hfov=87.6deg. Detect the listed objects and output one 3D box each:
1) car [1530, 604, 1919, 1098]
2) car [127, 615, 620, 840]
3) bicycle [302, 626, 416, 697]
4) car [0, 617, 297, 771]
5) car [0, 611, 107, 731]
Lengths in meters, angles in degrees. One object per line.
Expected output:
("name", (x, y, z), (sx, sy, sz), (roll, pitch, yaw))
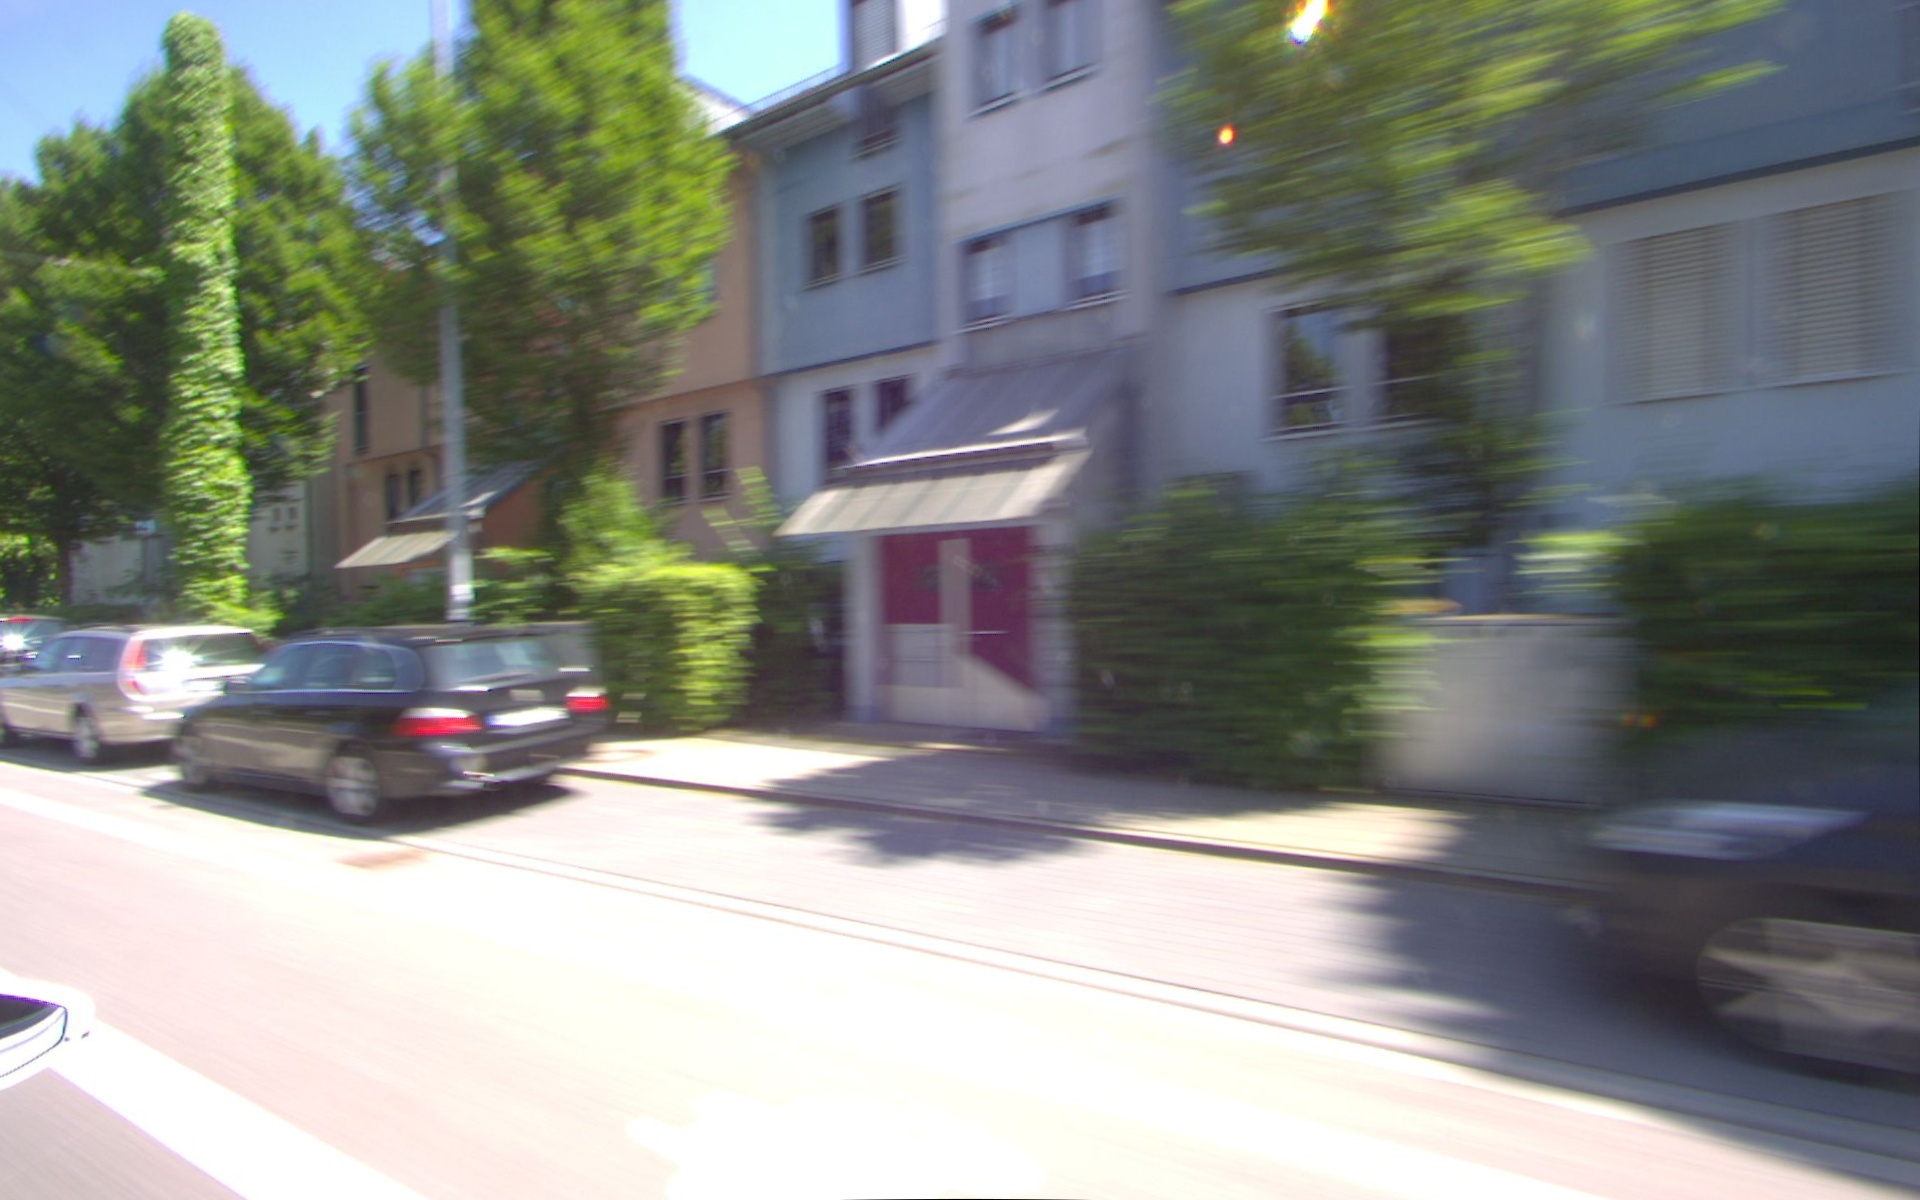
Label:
("car", (4.185, 0.758, 3.118), (4.121, 1.443, 1.579), (-1, 2, 33))
("car", (-5.448, 0.932, 9.067), (4.966, 1.513, 1.703), (-1, 2, 32))
("bicycle", (-10.586, 1.060, 17.680), (0.509, 1.155, 1.639), (0, 0, 40))
("car", (-10.271, 1.005, 12.275), (4.662, 1.513, 1.703), (-1, 2, 31))
("car", (-14.845, 1.014, 14.901), (4.255, 1.584, 1.705), (-1, 2, 27))
